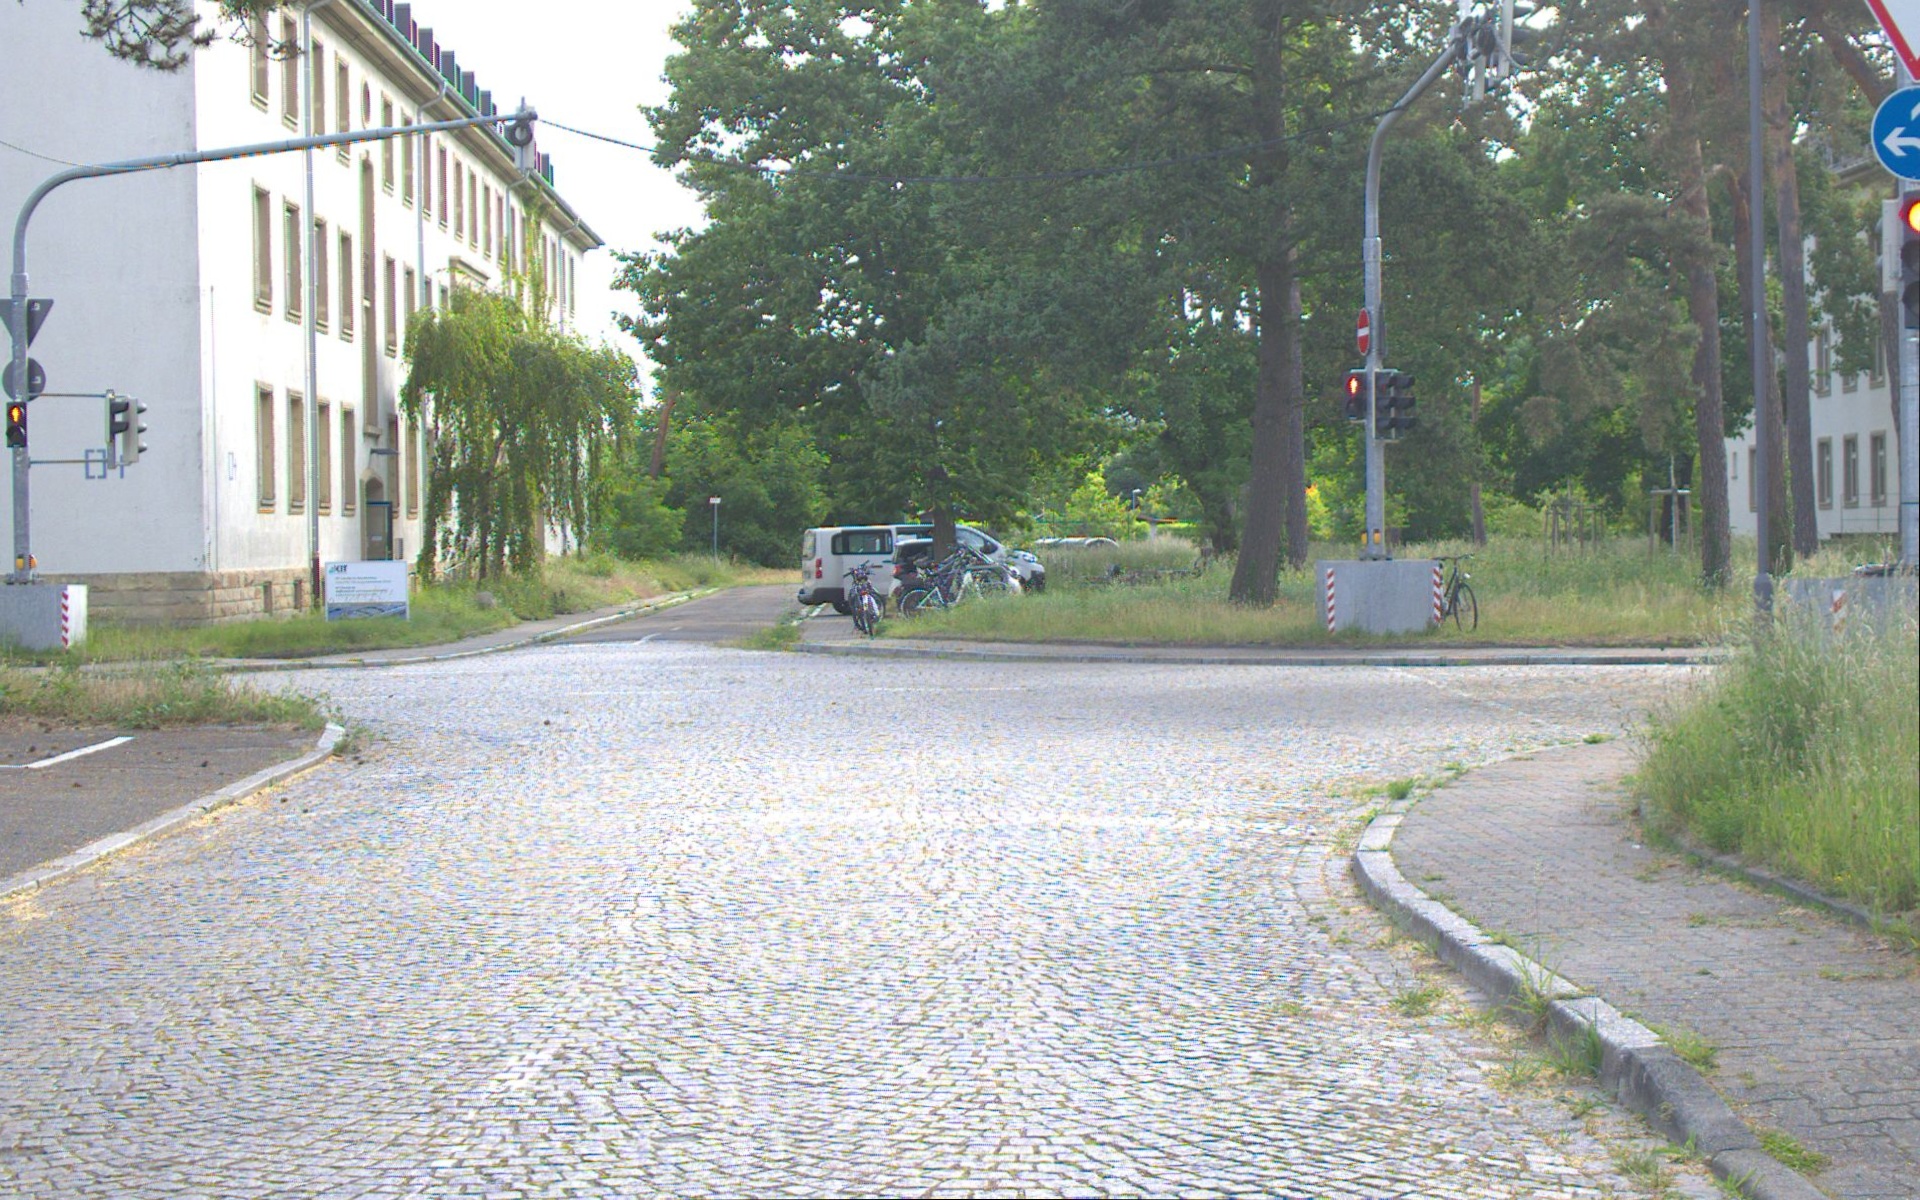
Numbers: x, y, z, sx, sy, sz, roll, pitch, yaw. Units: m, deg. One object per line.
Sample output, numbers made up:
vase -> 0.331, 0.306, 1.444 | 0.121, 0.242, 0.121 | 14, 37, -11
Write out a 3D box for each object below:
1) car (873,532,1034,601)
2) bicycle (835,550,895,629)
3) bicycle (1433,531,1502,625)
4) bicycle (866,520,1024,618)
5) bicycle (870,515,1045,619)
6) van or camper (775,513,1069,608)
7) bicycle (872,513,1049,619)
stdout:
car -> -0.141, -0.698, 70.546 | 3.137, 1.349, 1.620 | -1, 1, -6
bicycle -> -1.424, -0.173, 51.867 | 0.725, 1.104, 2.462 | -5, 1, 1
bicycle -> 6.543, -0.294, 44.404 | 0.724, 1.165, 2.736 | 1, 1, 5
bicycle -> -0.263, -0.565, 62.250 | 2.775, 1.688, 1.120 | 2, 1, 1
bicycle -> -0.045, -0.556, 57.347 | 2.775, 1.688, 1.120 | -1, 1, -8
van or camper -> -0.830, -0.877, 74.116 | 6.030, 1.942, 2.001 | -1, 1, -14
bicycle -> 0.000, -0.560, 56.152 | 2.775, 1.688, 1.120 | -1, 1, -6
